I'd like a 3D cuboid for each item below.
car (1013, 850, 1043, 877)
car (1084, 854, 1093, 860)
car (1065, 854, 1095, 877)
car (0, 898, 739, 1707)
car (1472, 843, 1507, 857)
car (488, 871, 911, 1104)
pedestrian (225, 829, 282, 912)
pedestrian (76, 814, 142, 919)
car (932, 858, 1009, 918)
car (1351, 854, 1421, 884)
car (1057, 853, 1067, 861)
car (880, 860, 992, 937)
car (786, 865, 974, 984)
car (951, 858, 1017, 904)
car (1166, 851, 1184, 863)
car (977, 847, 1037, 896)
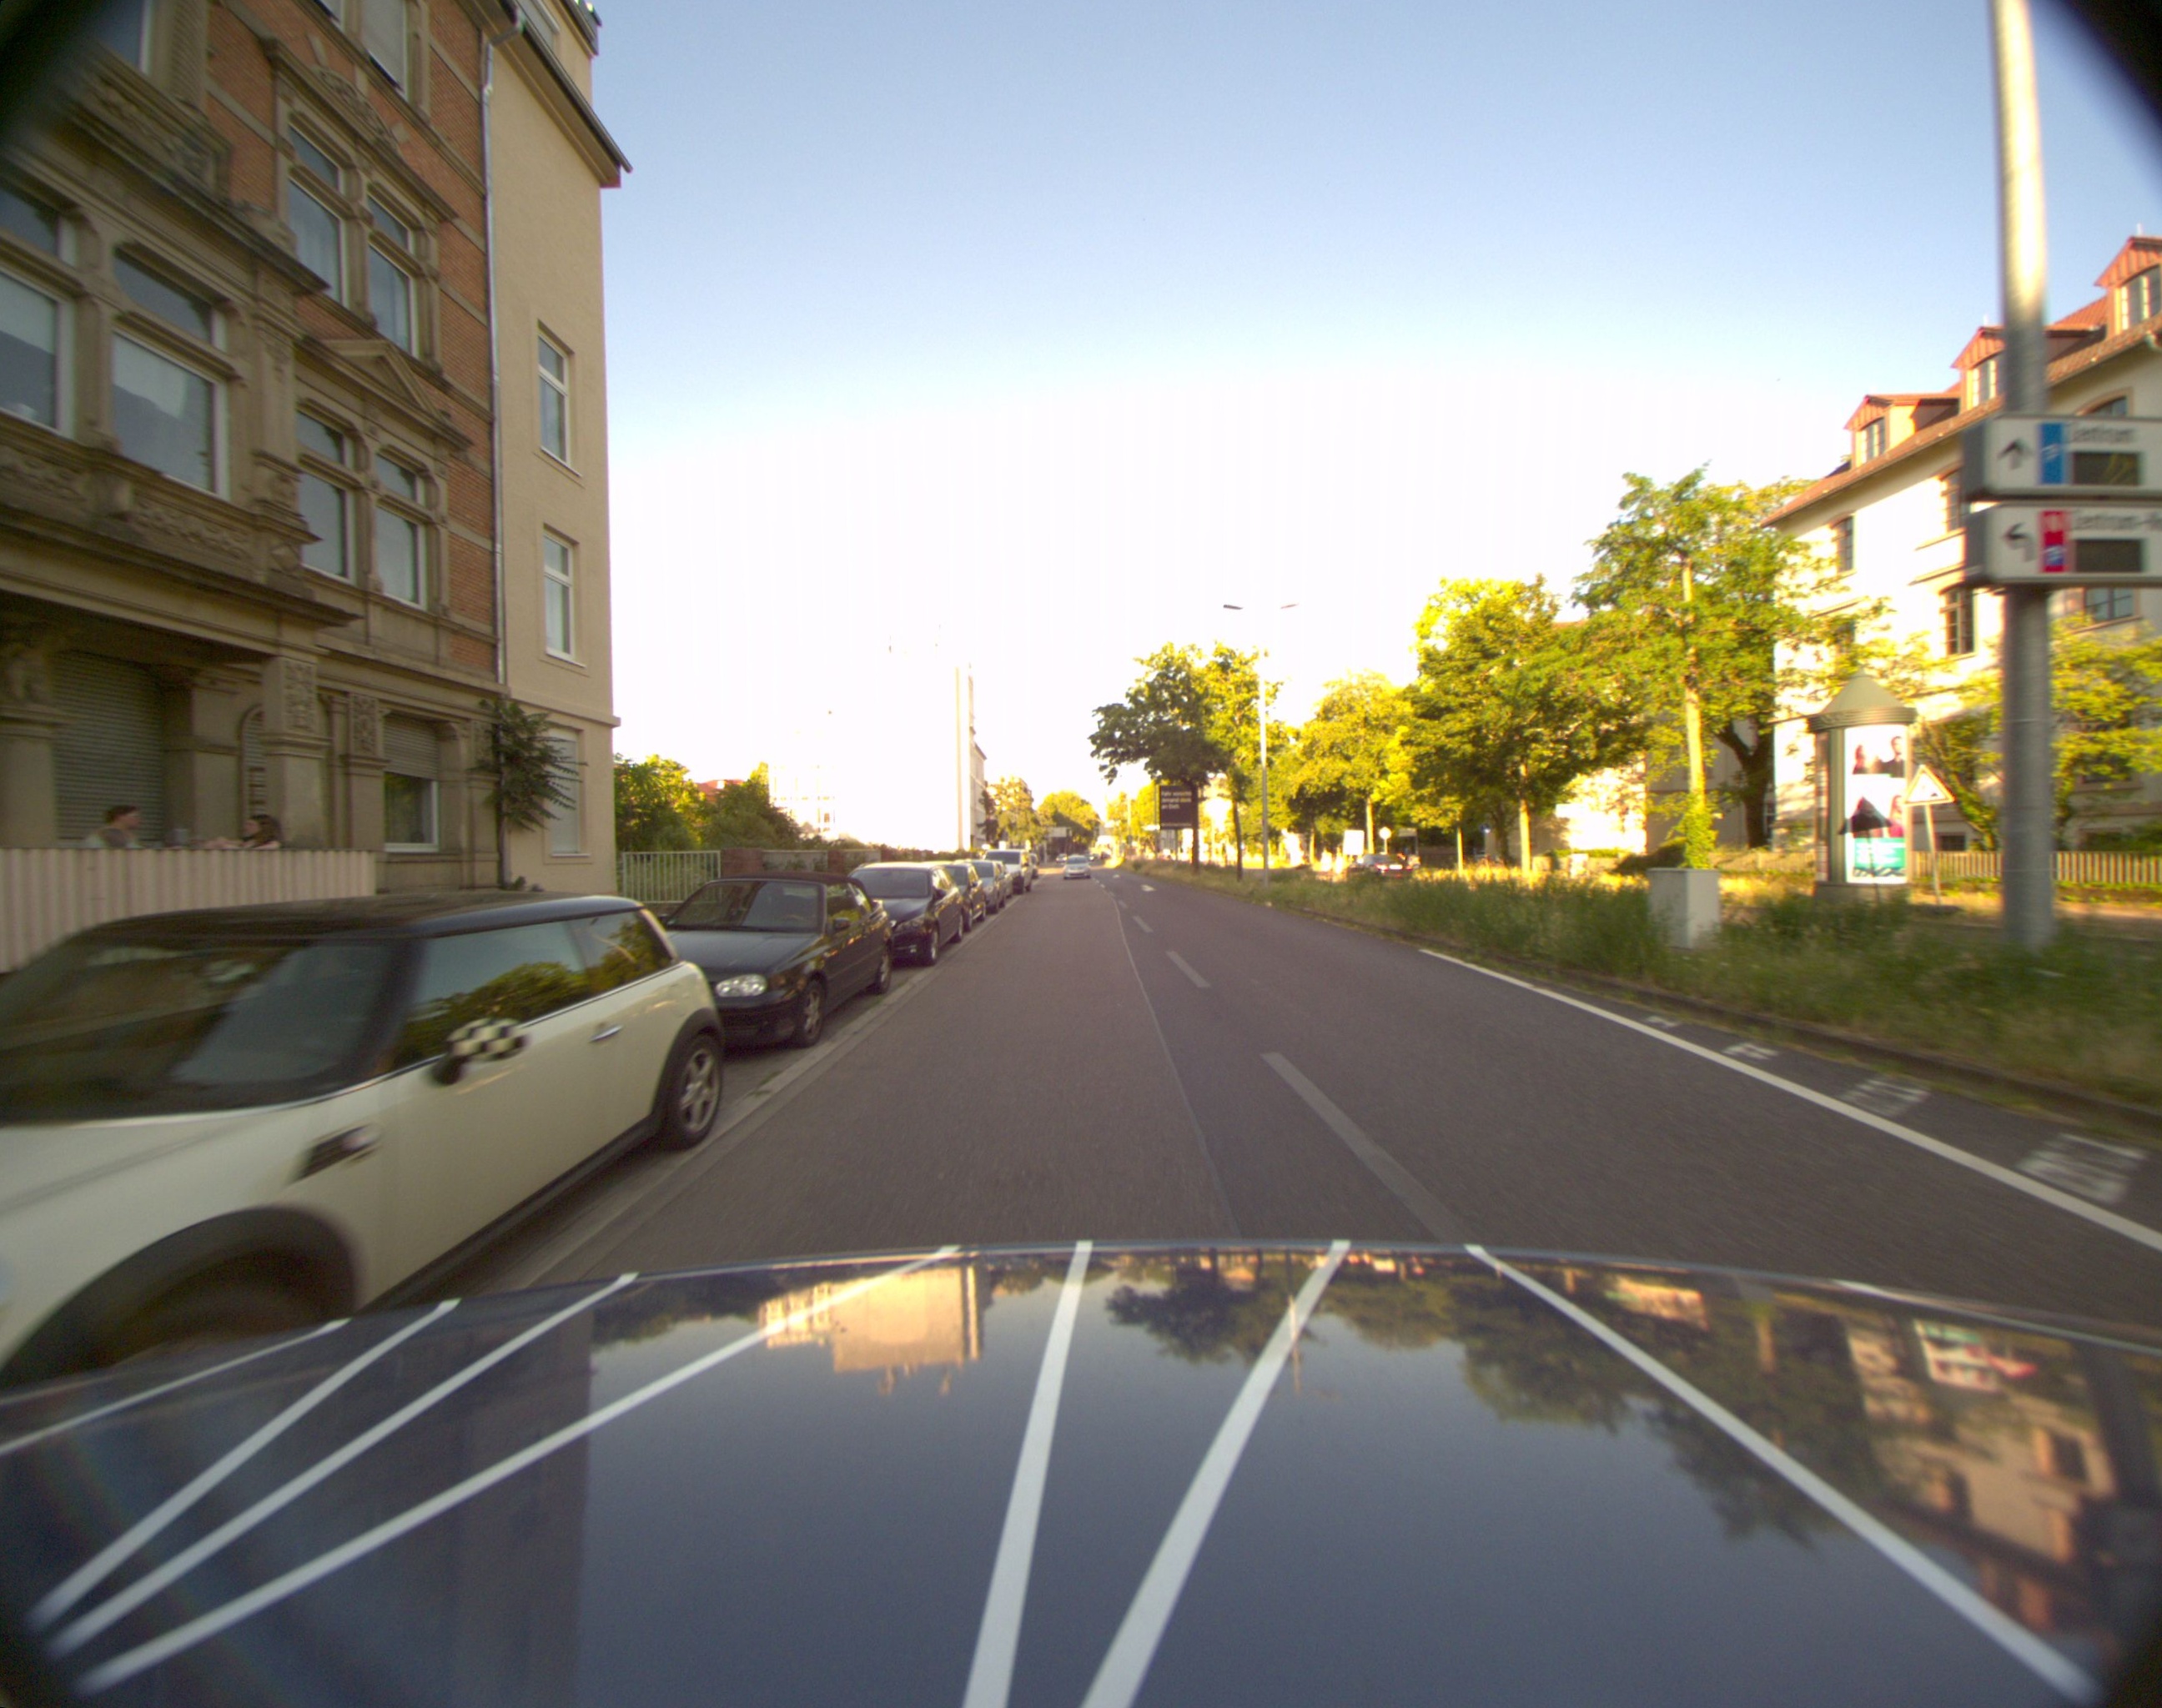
[{"bbox_3d":[-3.752,0.650,54.888,1.778,1.818,4.555,1,1,0],"label":"car"},{"bbox_3d":[1.590,0.599,161.144,1.948,1.259,4.162,-1,0,-1],"label":"car"},{"bbox_3d":[-0.086,0.718,50.566,1.895,1.455,3.965,-1,0,0],"label":"car"},{"bbox_3d":[-2.811,1.006,2.564,1.681,1.418,3.676,2,1,-1],"label":"car"},{"bbox_3d":[44.878,-0.437,83.578,1.698,1.368,3.999,-3,0,0],"label":"car"},{"bbox_3d":[-3.117,0.969,7.406,1.892,1.418,4.342,2,0,0],"label":"car"},{"bbox_3d":[-8.868,0.178,8.144,0.309,0.865,0.320,-2,1,33],"label":"pedestrian"},{"bbox_3d":[-9.699,0.123,7.584,0.402,1.023,0.320,-2,1,33],"label":"pedestrian"},{"bbox_3d":[-3.088,0.910,21.948,1.705,1.479,3.891,2,1,-2],"label":"car"},{"bbox_3d":[14.654,0.696,36.734,1.778,1.266,4.007,2,0,0],"label":"car"},{"bbox_3d":[-4.022,0.624,161.848,1.948,1.514,4.162,-1,0,-1],"label":"car"},{"bbox_3d":[-3.109,0.900,16.996,1.751,1.418,3.839,2,1,-1],"label":"car"},{"bbox_3d":[-3.021,0.976,12.445,1.892,1.439,4.463,2,0,-1],"label":"car"},{"bbox_3d":[-3.365,0.887,27.207,1.732,1.377,4.642,2,0,0],"label":"car"},{"bbox_3d":[11.893,0.318,95.986,1.778,1.409,4.007,2,1,0],"label":"car"},{"bbox_3d":[-3.110,0.683,33.057,1.892,1.907,5.179,2,1,2],"label":"car"}]
